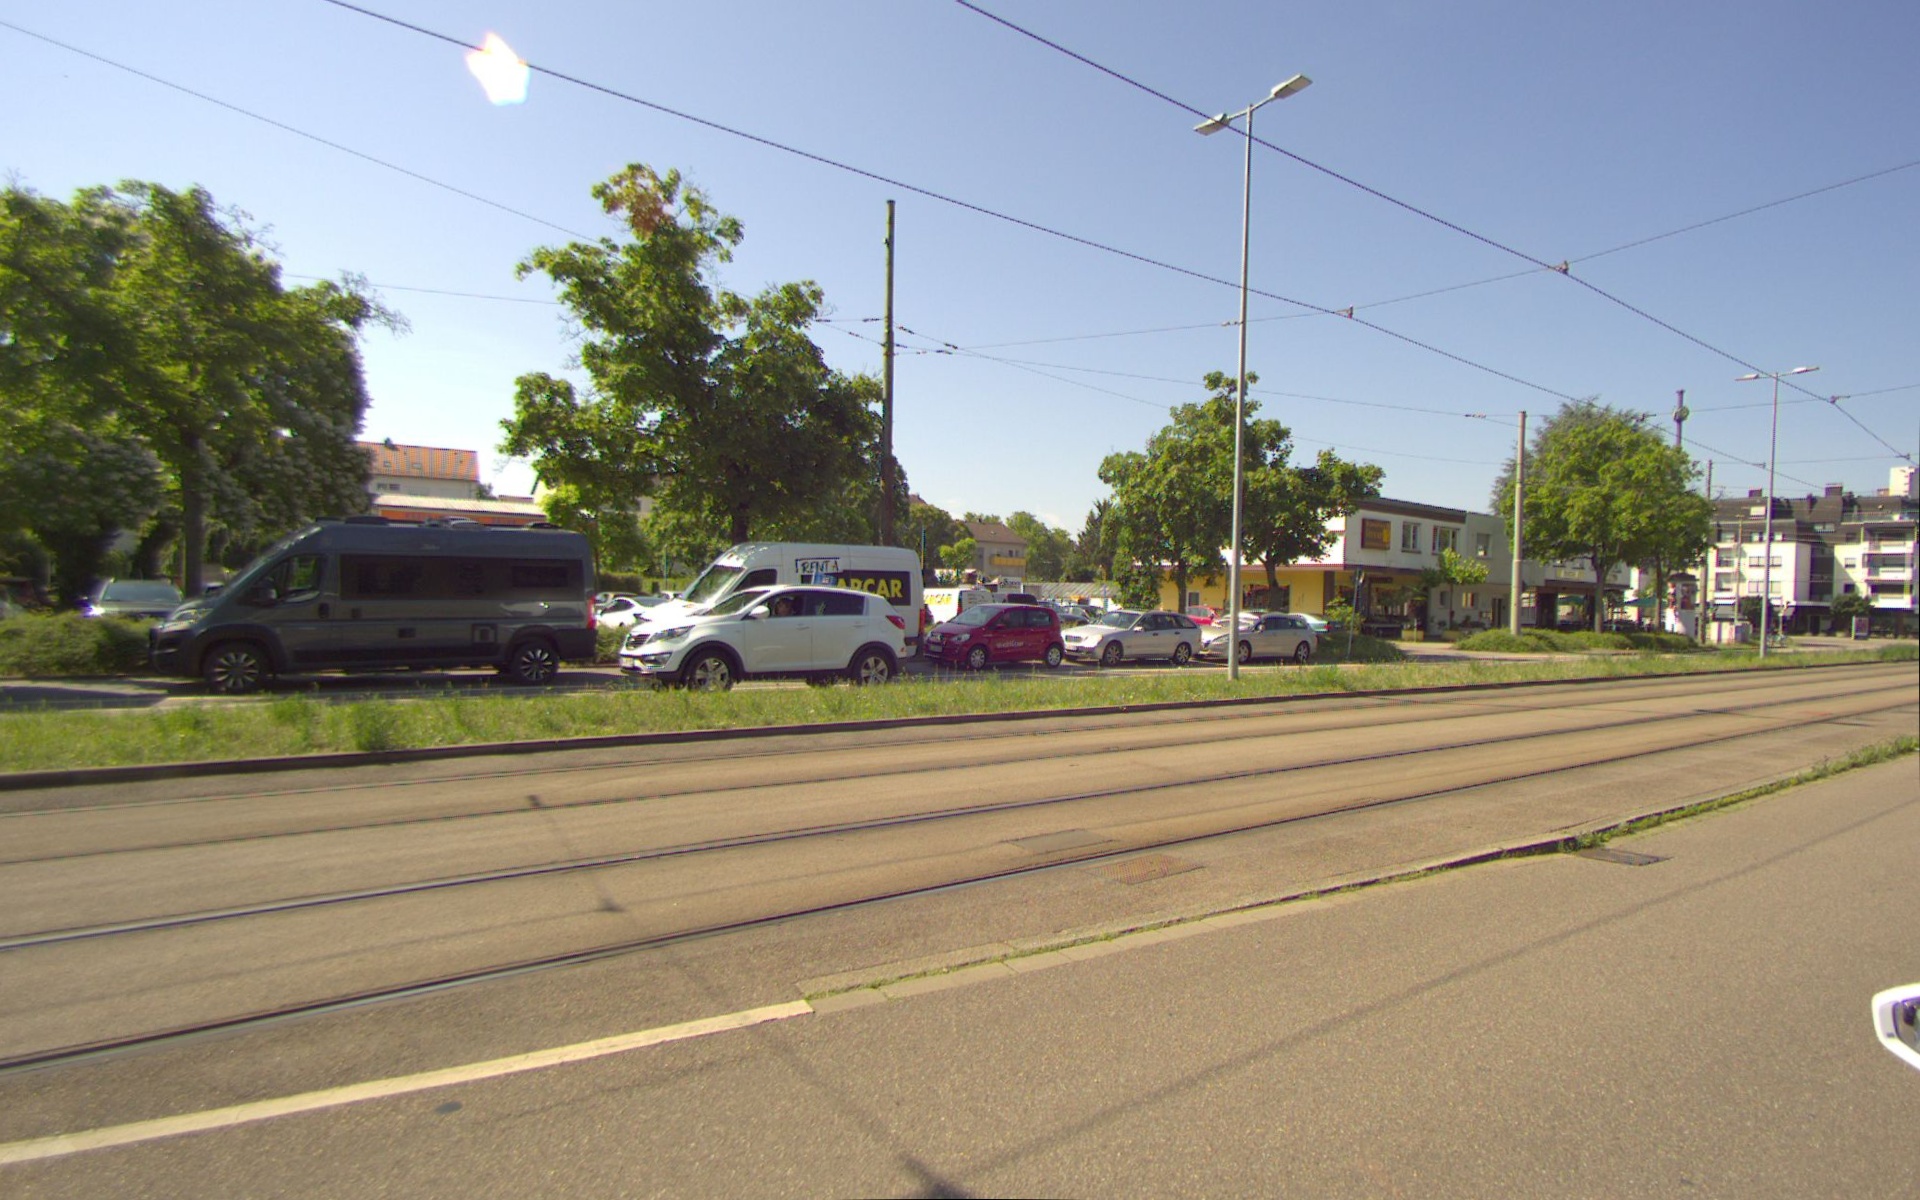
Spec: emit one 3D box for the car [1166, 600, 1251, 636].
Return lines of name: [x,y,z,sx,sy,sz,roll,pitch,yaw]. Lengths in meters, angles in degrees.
car: [12.846,0.920,52.119,1.681,1.758,4.118,1,0,-36]

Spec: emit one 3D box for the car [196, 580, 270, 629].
car: [-24.913,0.138,34.358,1.771,1.565,3.953,1,0,-40]

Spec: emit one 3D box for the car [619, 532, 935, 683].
car: [-3.571,0.129,20.378,5.923,2.666,2.179,1,2,-37]

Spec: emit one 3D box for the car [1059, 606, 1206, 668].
car: [4.651,0.969,26.745,4.311,1.510,1.282,1,0,-38]

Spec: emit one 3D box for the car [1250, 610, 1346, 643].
car: [15.961,1.235,47.631,1.681,1.362,4.118,1,0,-36]

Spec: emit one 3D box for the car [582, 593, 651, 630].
car: [-14.304,0.467,41.679,1.519,1.443,3.815,1,0,-38]

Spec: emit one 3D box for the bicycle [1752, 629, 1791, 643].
bicycle: [57.241,2.563,70.846,2.133,0.934,0.554,1,0,7]

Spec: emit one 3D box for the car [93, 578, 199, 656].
car: [-17.985,0.349,22.336,1.648,1.564,3.958,1,0,-37]

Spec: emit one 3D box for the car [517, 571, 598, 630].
car: [-16.127,0.026,40.151,1.895,2.229,3.953,1,0,-40]

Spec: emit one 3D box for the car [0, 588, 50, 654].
car: [-20.397,0.398,20.995,1.648,1.288,3.958,2,0,-37]

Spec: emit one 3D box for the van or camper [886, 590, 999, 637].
van or camper: [-0.669,0.447,35.663,1.863,1.584,3.950,1,-1,-42]

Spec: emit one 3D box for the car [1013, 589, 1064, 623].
car: [5.643,0.430,72.184,3.381,2.306,1.473,1,0,-27]

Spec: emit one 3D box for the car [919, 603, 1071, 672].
car: [0.867,0.869,23.722,3.646,1.510,1.281,1,0,-39]

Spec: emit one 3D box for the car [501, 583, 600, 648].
car: [-11.675,0.407,28.519,1.648,1.717,3.958,1,0,-37]

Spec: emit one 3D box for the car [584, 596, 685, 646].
car: [-9.742,0.594,29.889,1.477,1.389,3.953,1,-1,-40]

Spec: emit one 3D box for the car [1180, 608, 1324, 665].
car: [8.728,1.058,29.865,4.572,1.510,1.593,1,2,-36]

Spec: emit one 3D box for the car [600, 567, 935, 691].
car: [-2.834,0.433,15.273,4.616,1.618,2.029,1,-1,-37]

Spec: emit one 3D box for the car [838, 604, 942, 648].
car: [-2.437,0.852,34.200,1.477,1.389,3.953,1,-1,-40]

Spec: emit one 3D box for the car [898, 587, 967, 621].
car: [-1.883,0.238,67.611,2.083,2.203,4.889,2,0,-39]

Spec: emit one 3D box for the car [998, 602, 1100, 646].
car: [3.365,0.894,38.751,1.649,1.584,3.955,1,-1,-39]

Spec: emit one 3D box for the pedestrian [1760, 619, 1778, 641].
pedestrian: [57.504,2.109,71.393,0.799,1.507,0.566,1,0,7]

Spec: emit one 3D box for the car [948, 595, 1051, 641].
car: [1.410,0.640,37.408,1.649,1.584,3.955,1,-1,-39]

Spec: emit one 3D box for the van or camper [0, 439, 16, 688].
van or camper: [-15.336,-0.524,11.222,6.706,3.285,2.180,1,2,-36]

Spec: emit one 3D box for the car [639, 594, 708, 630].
car: [-12.327,0.496,43.112,1.519,1.443,3.815,1,0,-38]

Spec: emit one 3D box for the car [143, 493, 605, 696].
car: [-9.089,-0.069,16.059,6.023,2.704,2.179,1,2,-37]
